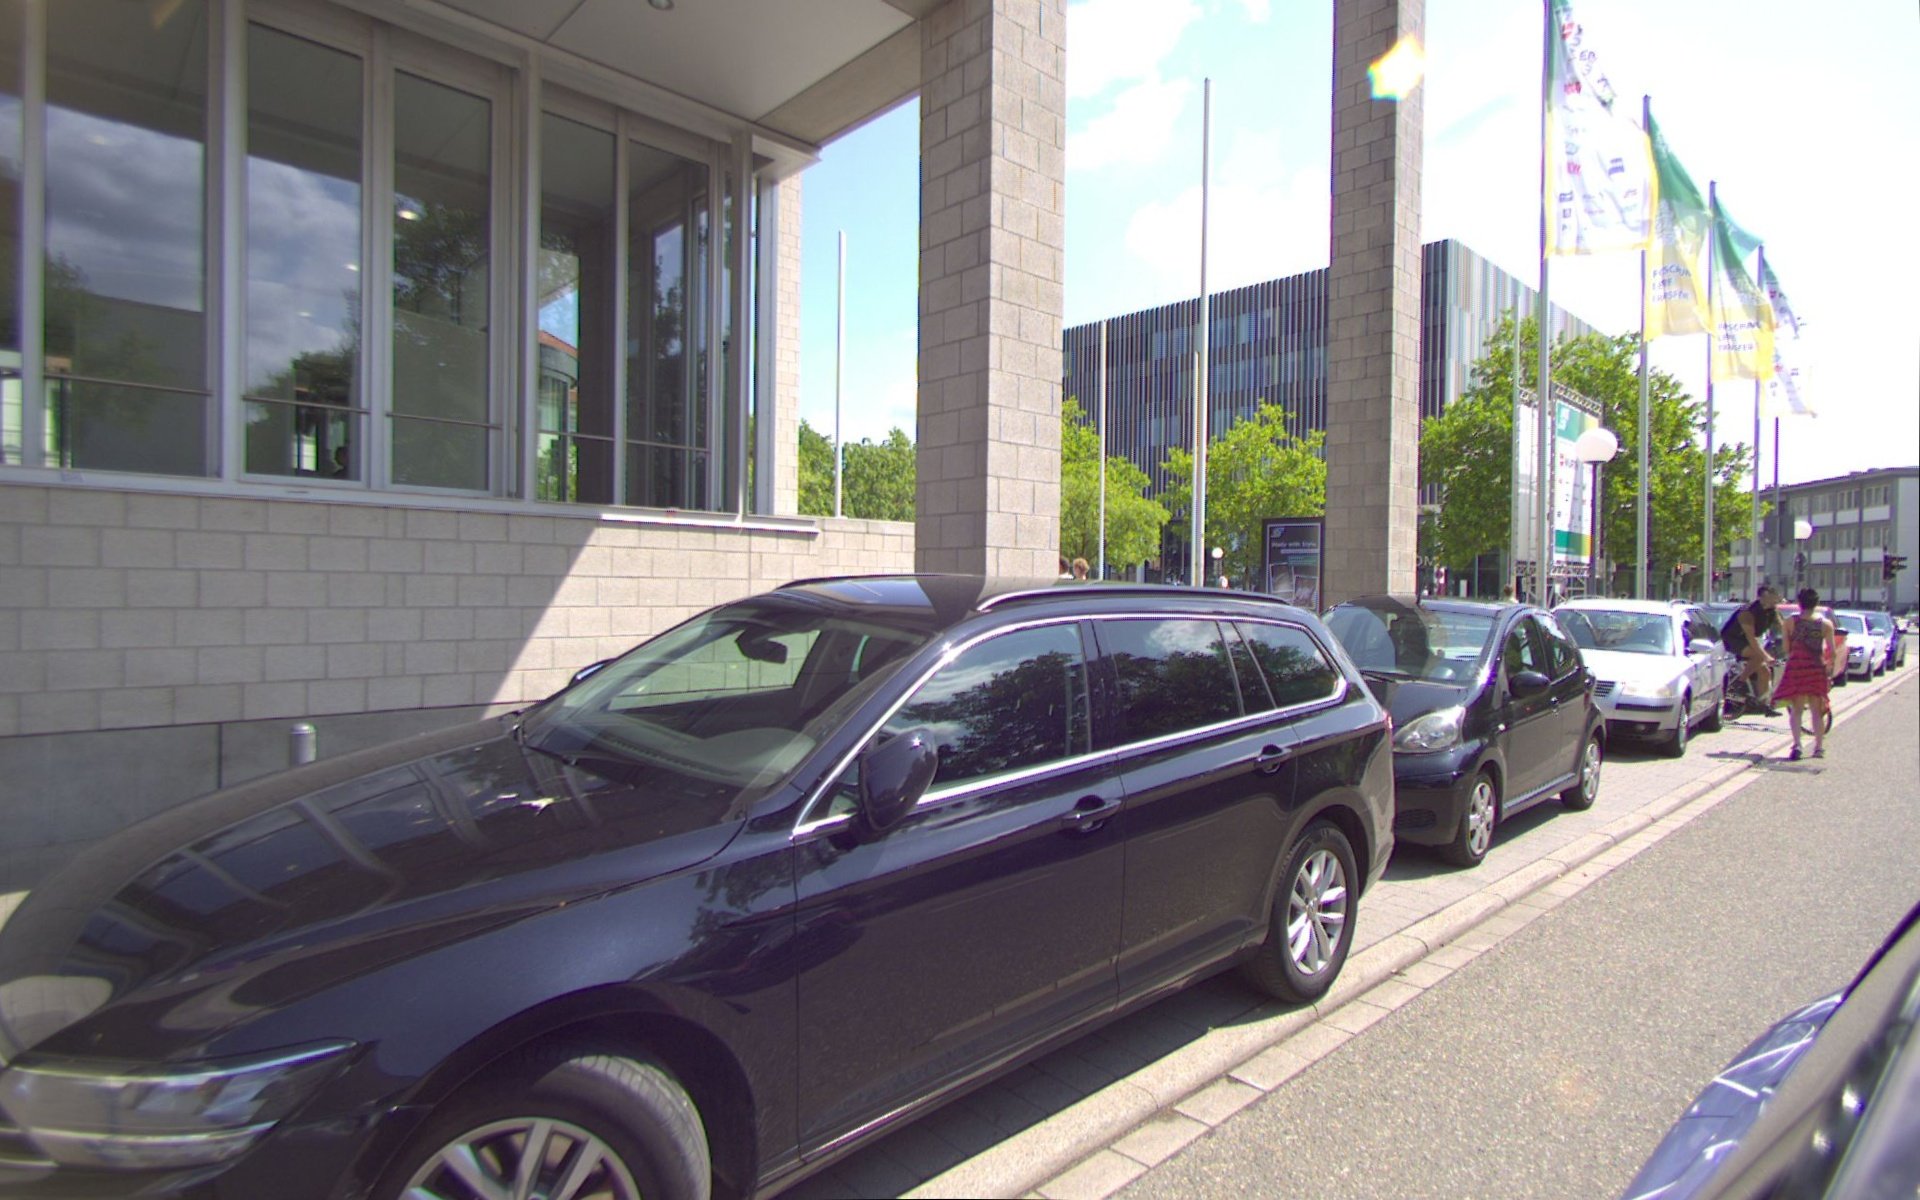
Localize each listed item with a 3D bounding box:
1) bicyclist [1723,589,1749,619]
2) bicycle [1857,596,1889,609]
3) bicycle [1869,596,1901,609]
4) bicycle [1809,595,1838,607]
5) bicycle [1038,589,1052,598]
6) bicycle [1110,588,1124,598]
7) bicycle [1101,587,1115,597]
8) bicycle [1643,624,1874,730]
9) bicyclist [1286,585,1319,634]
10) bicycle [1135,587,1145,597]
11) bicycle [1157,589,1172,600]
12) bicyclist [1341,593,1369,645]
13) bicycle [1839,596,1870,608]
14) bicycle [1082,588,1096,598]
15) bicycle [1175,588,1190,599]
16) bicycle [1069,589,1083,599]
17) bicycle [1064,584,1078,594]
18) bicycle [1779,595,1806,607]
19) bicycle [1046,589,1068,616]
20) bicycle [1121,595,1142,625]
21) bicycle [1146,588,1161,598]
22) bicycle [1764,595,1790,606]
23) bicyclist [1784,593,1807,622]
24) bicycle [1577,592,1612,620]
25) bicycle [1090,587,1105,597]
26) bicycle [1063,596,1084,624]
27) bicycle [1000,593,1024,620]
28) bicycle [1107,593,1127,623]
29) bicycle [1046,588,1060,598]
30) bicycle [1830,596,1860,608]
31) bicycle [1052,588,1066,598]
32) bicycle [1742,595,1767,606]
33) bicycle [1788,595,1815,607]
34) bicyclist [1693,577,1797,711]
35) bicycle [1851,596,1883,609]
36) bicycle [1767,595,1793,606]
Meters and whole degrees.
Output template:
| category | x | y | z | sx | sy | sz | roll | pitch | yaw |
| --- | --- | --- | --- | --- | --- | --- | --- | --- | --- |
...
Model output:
| category | x | y | z | sx | sy | sz | roll | pitch | yaw |
| --- | --- | --- | --- | --- | --- | --- | --- | --- | --- |
| bicyclist | 43.107 | 0.227 | 56.209 | 0.986 | 1.636 | 0.653 | 0 | 0 | 19 |
| bicycle | 71.853 | 0.159 | 79.648 | 1.751 | 0.967 | 0.526 | 1 | 3 | 20 |
| bicycle | 71.613 | 0.215 | 78.354 | 1.753 | 0.967 | 0.525 | 1 | 3 | 22 |
| bicycle | 72.886 | 0.115 | 85.465 | 1.751 | 0.967 | 0.526 | 1 | 3 | 20 |
| bicycle | 9.097 | -0.702 | 108.325 | 1.756 | 0.967 | 0.432 | -2 | 2 | -43 |
| bicycle | 15.711 | -0.733 | 101.352 | 1.756 | 0.967 | 0.432 | -2 | 2 | -43 |
| bicycle | 14.961 | -0.808 | 102.197 | 1.756 | 0.967 | 0.432 | -2 | 2 | -43 |
| bicycle | 9.832 | 0.899 | 12.530 | 0.889 | 1.092 | 2.149 | 0 | 1 | -44 |
| bicyclist | 11.398 | 0.311 | 33.700 | 0.864 | 1.589 | 0.681 | 2 | 0 | -43 |
| bicycle | 17.364 | -0.762 | 97.727 | 0.371 | 0.967 | 1.527 | 1 | 2 | 36 |
| bicycle | 19.586 | -0.549 | 96.869 | 1.515 | 0.967 | 0.374 | -2 | 2 | -28 |
| bicyclist | 10.348 | 0.487 | 26.528 | 0.599 | 1.337 | 0.738 | 2 | 0 | 17 |
| bicycle | 72.370 | 0.160 | 81.876 | 1.751 | 0.967 | 0.526 | 1 | 3 | 20 |
| bicycle | 13.210 | -0.708 | 103.783 | 1.756 | 0.967 | 0.432 | -2 | 2 | -43 |
| bicycle | 20.880 | -0.578 | 94.936 | 1.515 | 0.967 | 0.374 | -2 | 2 | -28 |
| bicycle | 12.032 | -0.589 | 104.939 | 1.756 | 0.967 | 0.432 | -2 | 2 | -43 |
| bicycle | 11.554 | -1.149 | 105.655 | 1.756 | 0.967 | 0.432 | -2 | 2 | -43 |
| bicycle | 73.479 | 0.061 | 89.325 | 1.751 | 0.967 | 0.526 | 1 | 3 | 20 |
| bicycle | 4.052 | 0.100 | 42.282 | 0.595 | 1.112 | 1.758 | 1 | 1 | 16 |
| bicycle | 6.785 | 0.388 | 39.979 | 0.595 | 1.112 | 1.759 | 0 | 2 | 16 |
| bicycle | 18.691 | -0.679 | 97.726 | 1.515 | 0.967 | 0.374 | -2 | 2 | -28 |
| bicycle | 74.428 | 0.025 | 92.240 | 1.751 | 0.967 | 0.526 | 1 | 3 | 20 |
| bicyclist | 45.551 | 0.376 | 55.190 | 0.777 | 1.558 | 0.652 | 0 | 1 | 23 |
| bicycle | 26.741 | 0.253 | 42.617 | 0.816 | 1.086 | 1.860 | 3 | -1 | 45 |
| bicycle | 14.006 | -0.809 | 103.114 | 1.756 | 0.967 | 0.432 | -2 | 2 | -43 |
| bicycle | 4.784 | 0.402 | 42.512 | 0.595 | 1.112 | 1.759 | 0 | 1 | 16 |
| bicycle | 2.193 | 0.259 | 42.351 | 0.595 | 1.113 | 1.758 | 0 | 0 | 16 |
| bicycle | 6.332 | 0.301 | 40.819 | 0.595 | 1.112 | 1.759 | 0 | 2 | 16 |
| bicycle | 9.910 | -0.756 | 107.361 | 1.756 | 0.967 | 0.432 | -2 | 2 | -43 |
| bicycle | 72.712 | 0.147 | 83.145 | 1.751 | 0.967 | 0.526 | 1 | 3 | 20 |
| bicycle | 10.445 | -0.768 | 106.770 | 1.756 | 0.967 | 0.432 | -2 | 2 | -43 |
| bicycle | 75.236 | 0.005 | 95.900 | 1.751 | 0.967 | 0.526 | 1 | 3 | 20 |
| bicycle | 73.000 | 0.109 | 87.799 | 1.751 | 0.967 | 0.526 | 1 | 3 | 20 |
| bicyclist | 9.753 | 0.510 | 12.574 | 0.652 | 1.583 | 0.931 | 1 | 1 | -45 |
| bicycle | 72.192 | 0.168 | 80.569 | 1.751 | 0.967 | 0.526 | 1 | 3 | 20 |
| bicycle | 74.236 | 0.015 | 91.613 | 1.751 | 0.967 | 0.526 | 1 | 3 | 20 |
